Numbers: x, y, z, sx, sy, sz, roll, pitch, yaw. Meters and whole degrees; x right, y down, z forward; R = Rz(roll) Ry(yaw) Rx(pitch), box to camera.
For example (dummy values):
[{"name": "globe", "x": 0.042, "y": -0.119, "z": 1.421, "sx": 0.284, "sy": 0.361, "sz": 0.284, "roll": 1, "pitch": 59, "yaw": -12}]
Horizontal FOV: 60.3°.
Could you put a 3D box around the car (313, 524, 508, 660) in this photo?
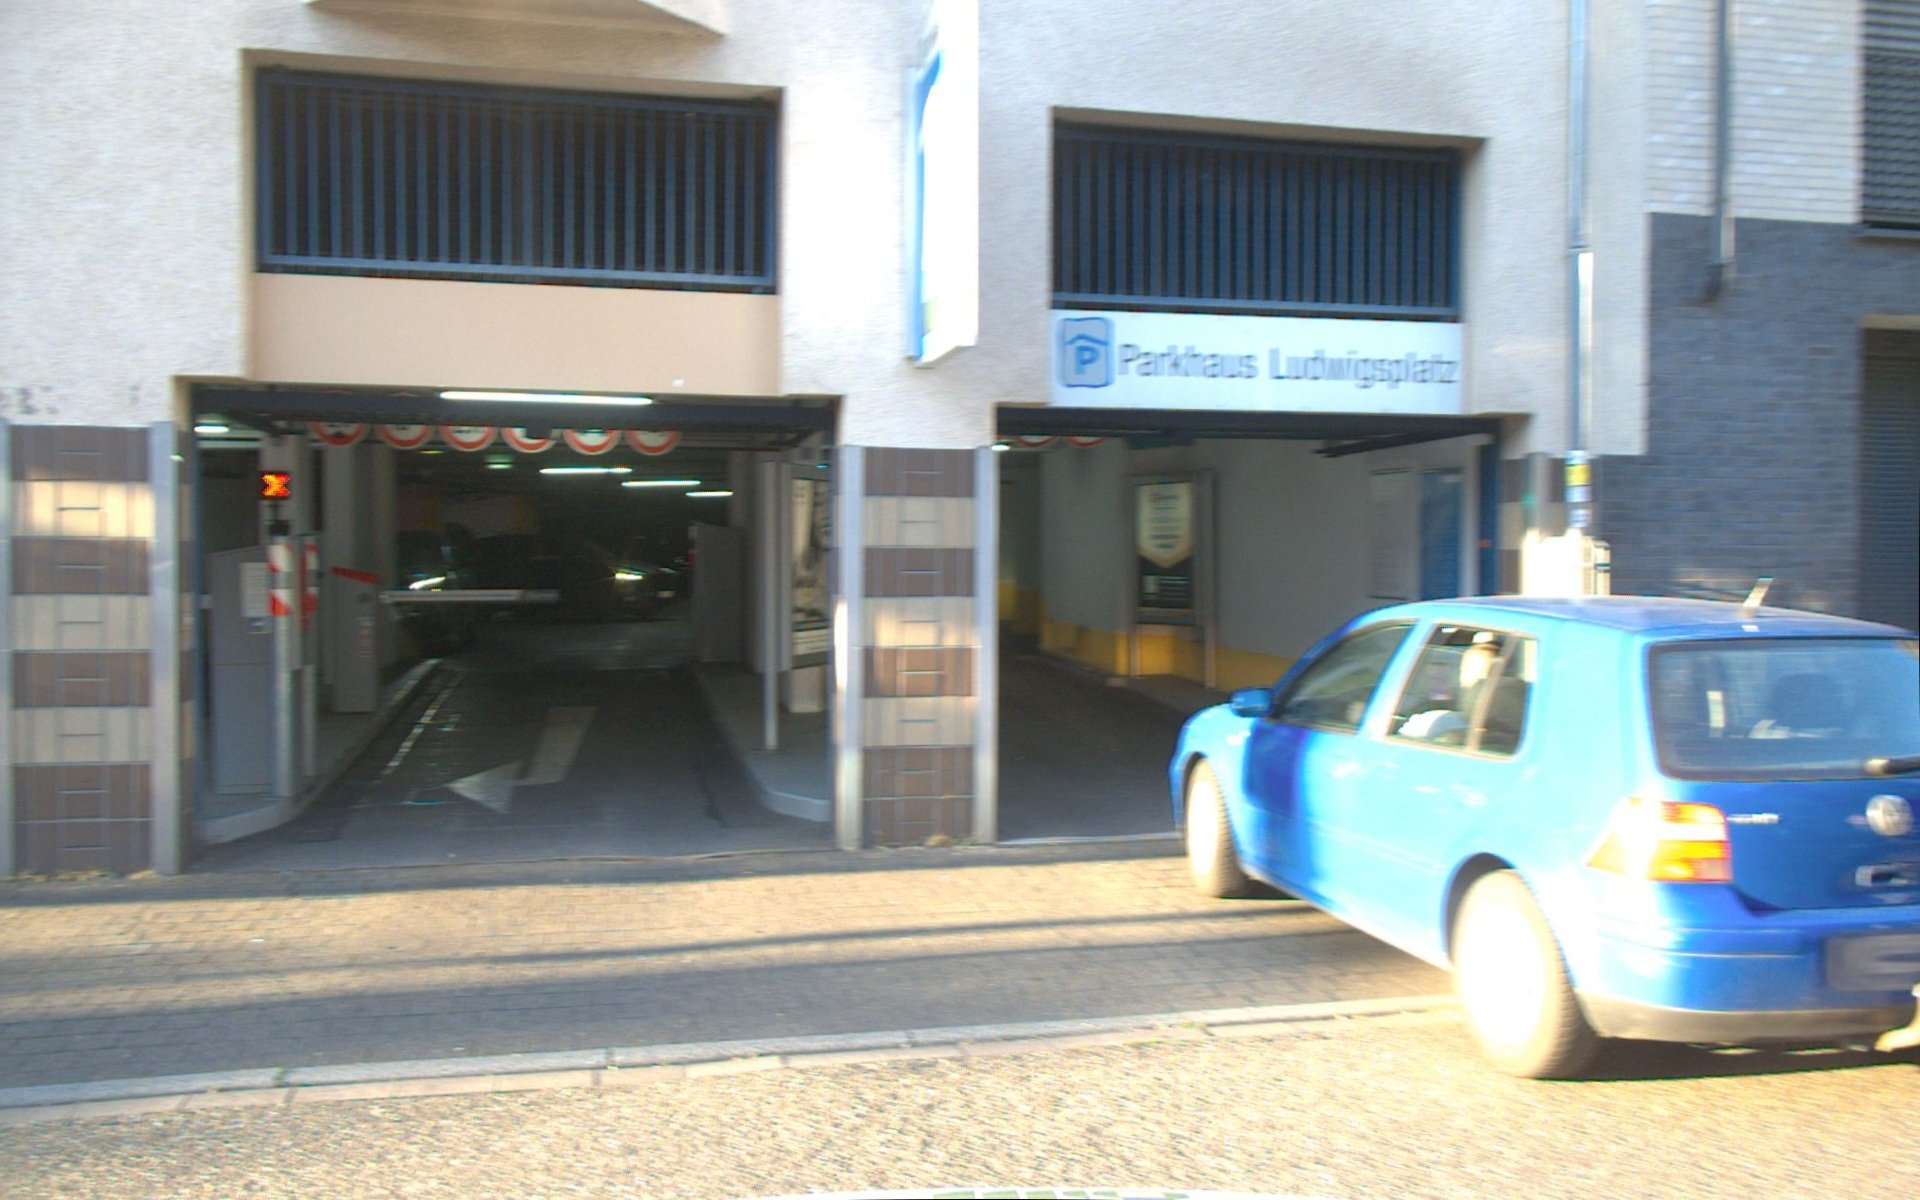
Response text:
[{"name": "car", "x": -7.137, "y": -0.124, "z": 21.881, "sx": 1.780, "sy": 1.600, "sz": 4.241, "roll": -1, "pitch": 1, "yaw": -10}]

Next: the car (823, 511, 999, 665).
[{"name": "car", "x": -0.674, "y": -0.222, "z": 19.688, "sx": 1.527, "sy": 1.646, "sz": 3.872, "roll": 0, "pitch": 3, "yaw": -11}]

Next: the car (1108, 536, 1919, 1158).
[{"name": "car", "x": 2.106, "y": 0.607, "z": 6.445, "sx": 1.661, "sy": 1.590, "sz": 4.100, "roll": 0, "pitch": 1, "yaw": -17}]

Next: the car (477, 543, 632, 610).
[{"name": "car", "x": -9.430, "y": -0.586, "z": 38.331, "sx": 3.810, "sy": 1.415, "sz": 1.600, "roll": 2, "pitch": 3, "yaw": 41}]

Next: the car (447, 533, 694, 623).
[{"name": "car", "x": -7.425, "y": -0.449, "z": 31.693, "sx": 4.194, "sy": 1.652, "sz": 1.893, "roll": 1, "pitch": 2, "yaw": 13}]
